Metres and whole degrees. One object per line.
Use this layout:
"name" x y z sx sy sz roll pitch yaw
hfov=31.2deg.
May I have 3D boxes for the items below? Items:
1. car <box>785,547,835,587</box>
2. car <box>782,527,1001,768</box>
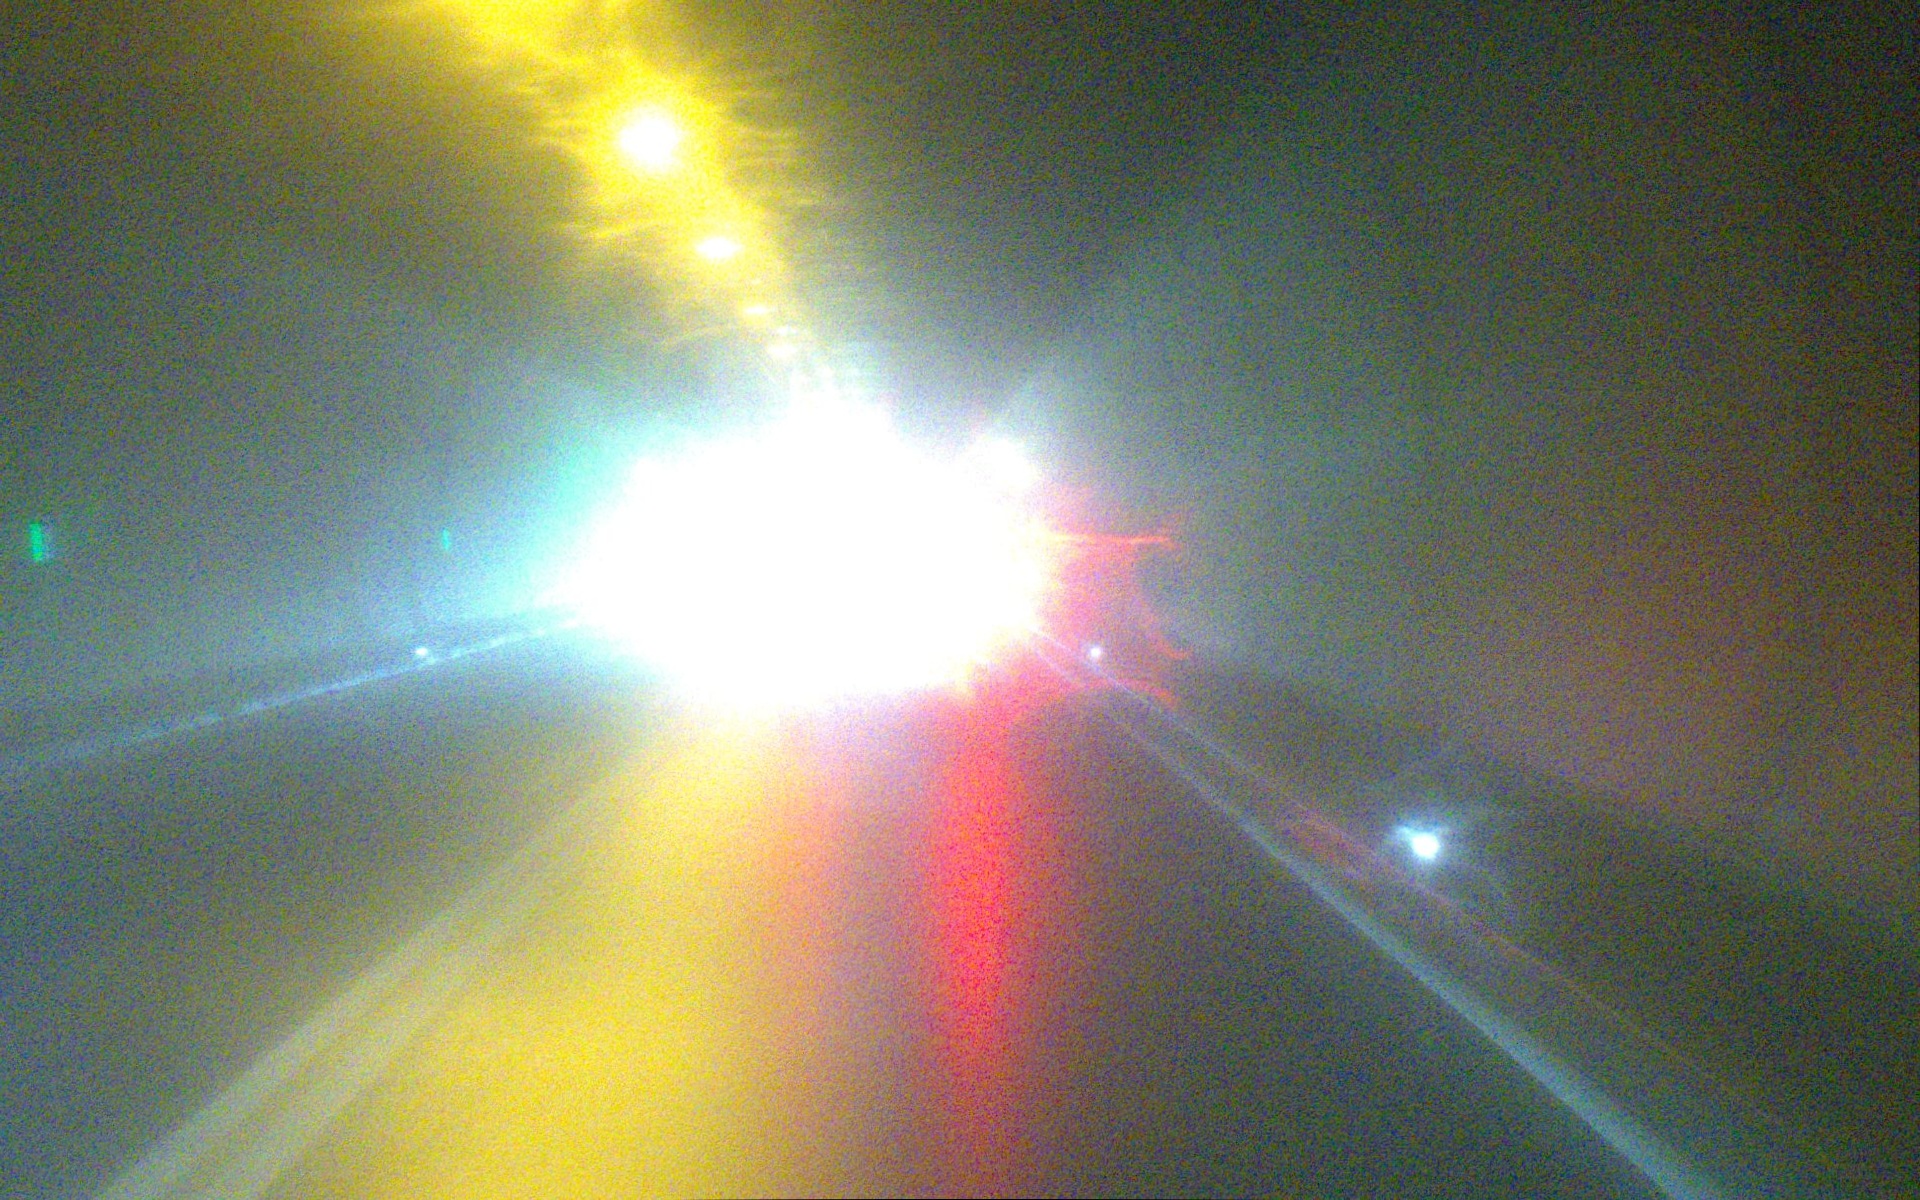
"car" -5.721 -1.263 130.794 1.777 1.404 4.295 -1 2 -4
"car" -0.519 0.317 28.251 1.635 1.751 4.146 -1 2 0
